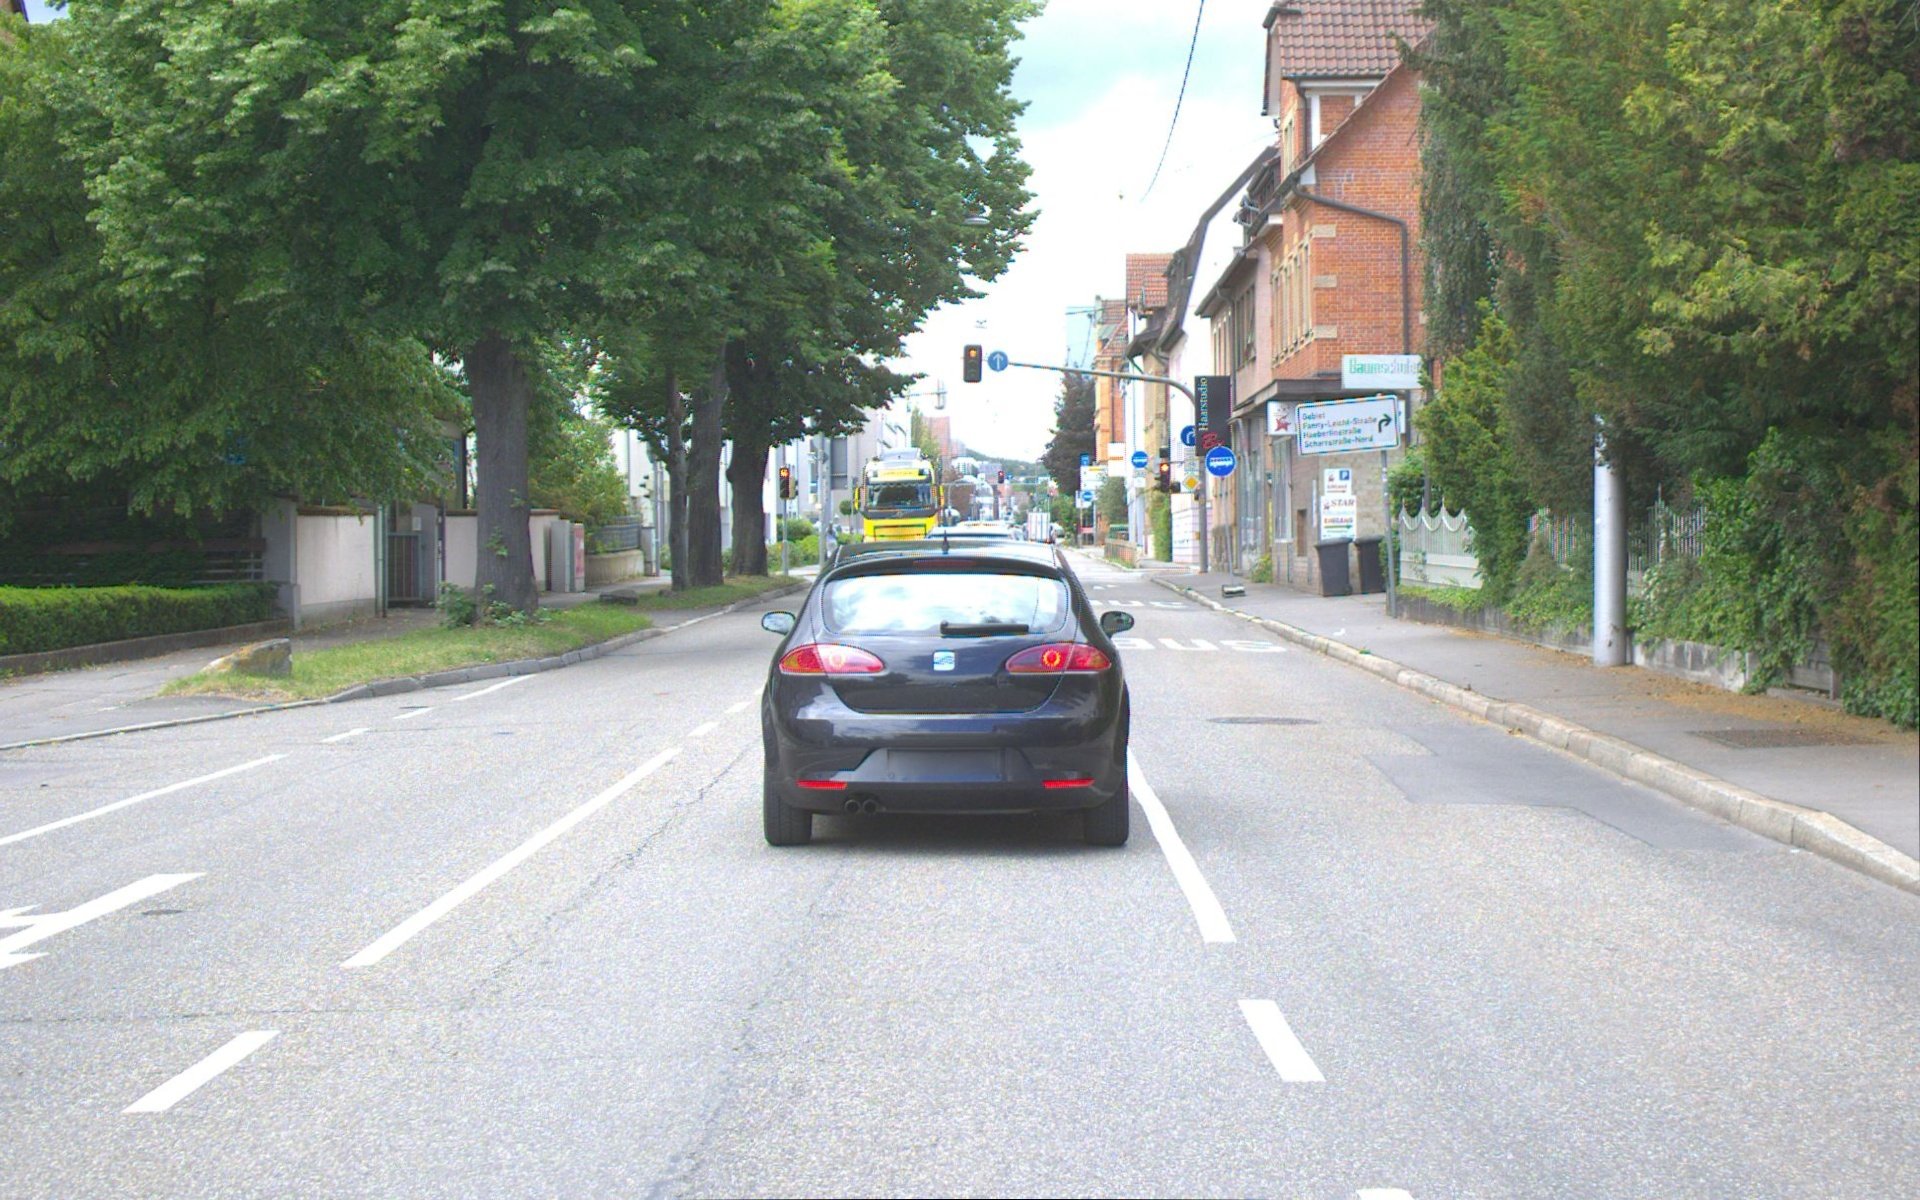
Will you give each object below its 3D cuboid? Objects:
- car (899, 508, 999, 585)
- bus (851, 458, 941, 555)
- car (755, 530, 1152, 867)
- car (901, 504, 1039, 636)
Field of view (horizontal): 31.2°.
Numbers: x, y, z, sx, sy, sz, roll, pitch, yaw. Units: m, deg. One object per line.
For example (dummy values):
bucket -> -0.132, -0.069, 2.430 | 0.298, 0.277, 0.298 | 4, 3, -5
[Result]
car -> -0.269, -1.155, 72.634 | 1.941, 1.476, 4.254 | -2, 2, -2
bus -> -2.130, -3.171, 116.469 | 2.868, 3.125, 6.398 | -1, 2, 0
car -> -0.127, 0.407, 17.247 | 1.759, 1.444, 3.715 | 1, 2, -3
car -> 0.185, -0.468, 48.989 | 1.819, 1.693, 4.253 | -2, 2, 2
